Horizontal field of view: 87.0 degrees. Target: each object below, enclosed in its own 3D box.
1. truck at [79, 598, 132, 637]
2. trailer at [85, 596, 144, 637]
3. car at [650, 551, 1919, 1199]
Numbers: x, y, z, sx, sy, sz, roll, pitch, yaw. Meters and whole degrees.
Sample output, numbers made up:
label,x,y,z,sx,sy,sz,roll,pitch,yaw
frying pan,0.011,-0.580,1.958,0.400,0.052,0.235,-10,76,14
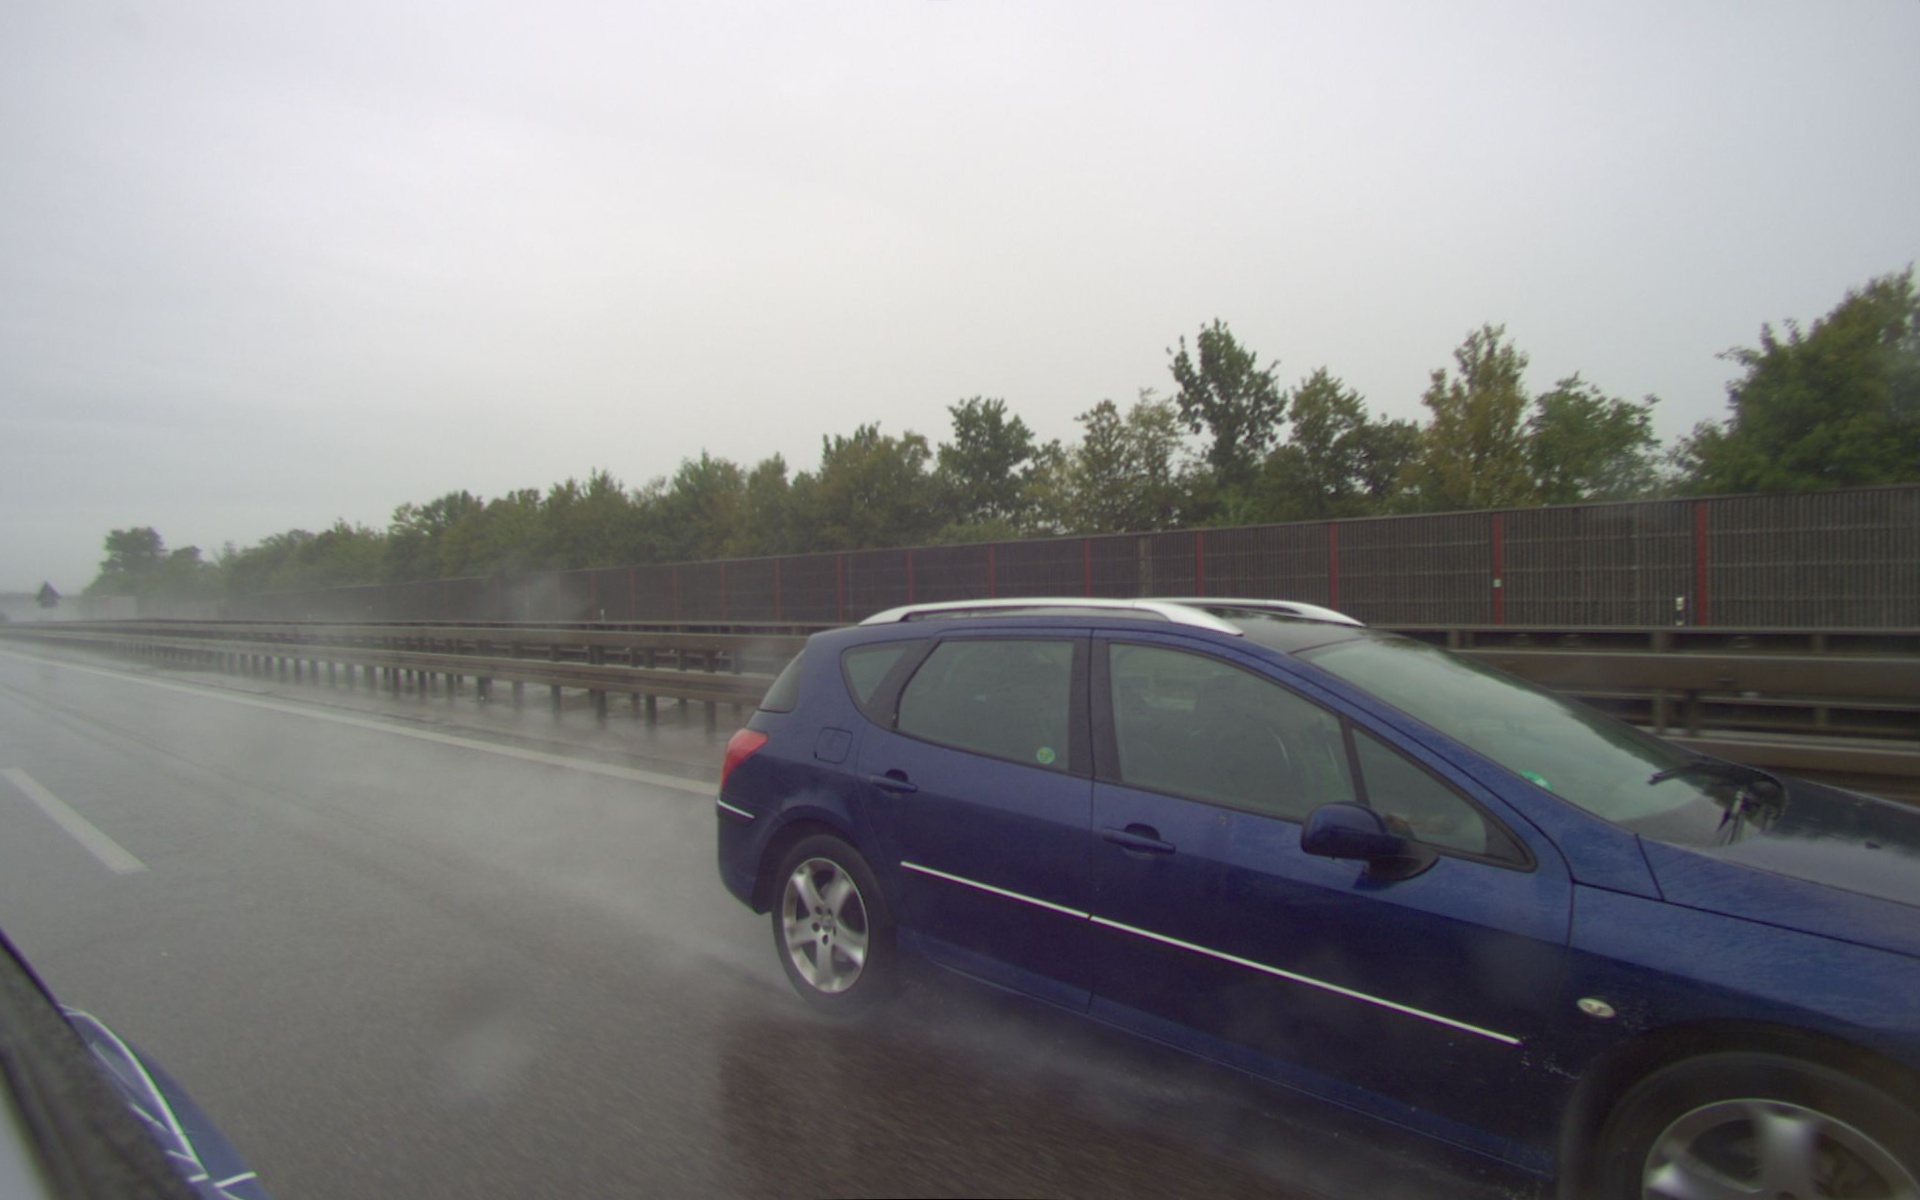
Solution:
label,x,y,z,sx,sy,sz,roll,pitch,yaw
truck,-107.285,2.168,126.980,9.490,4.674,3.795,-2,-1,42
trailer,-102.692,2.001,122.786,12.240,4.731,3.828,-2,-1,42
car,1.372,0.687,3.068,5.156,1.496,2.033,-2,-1,42
